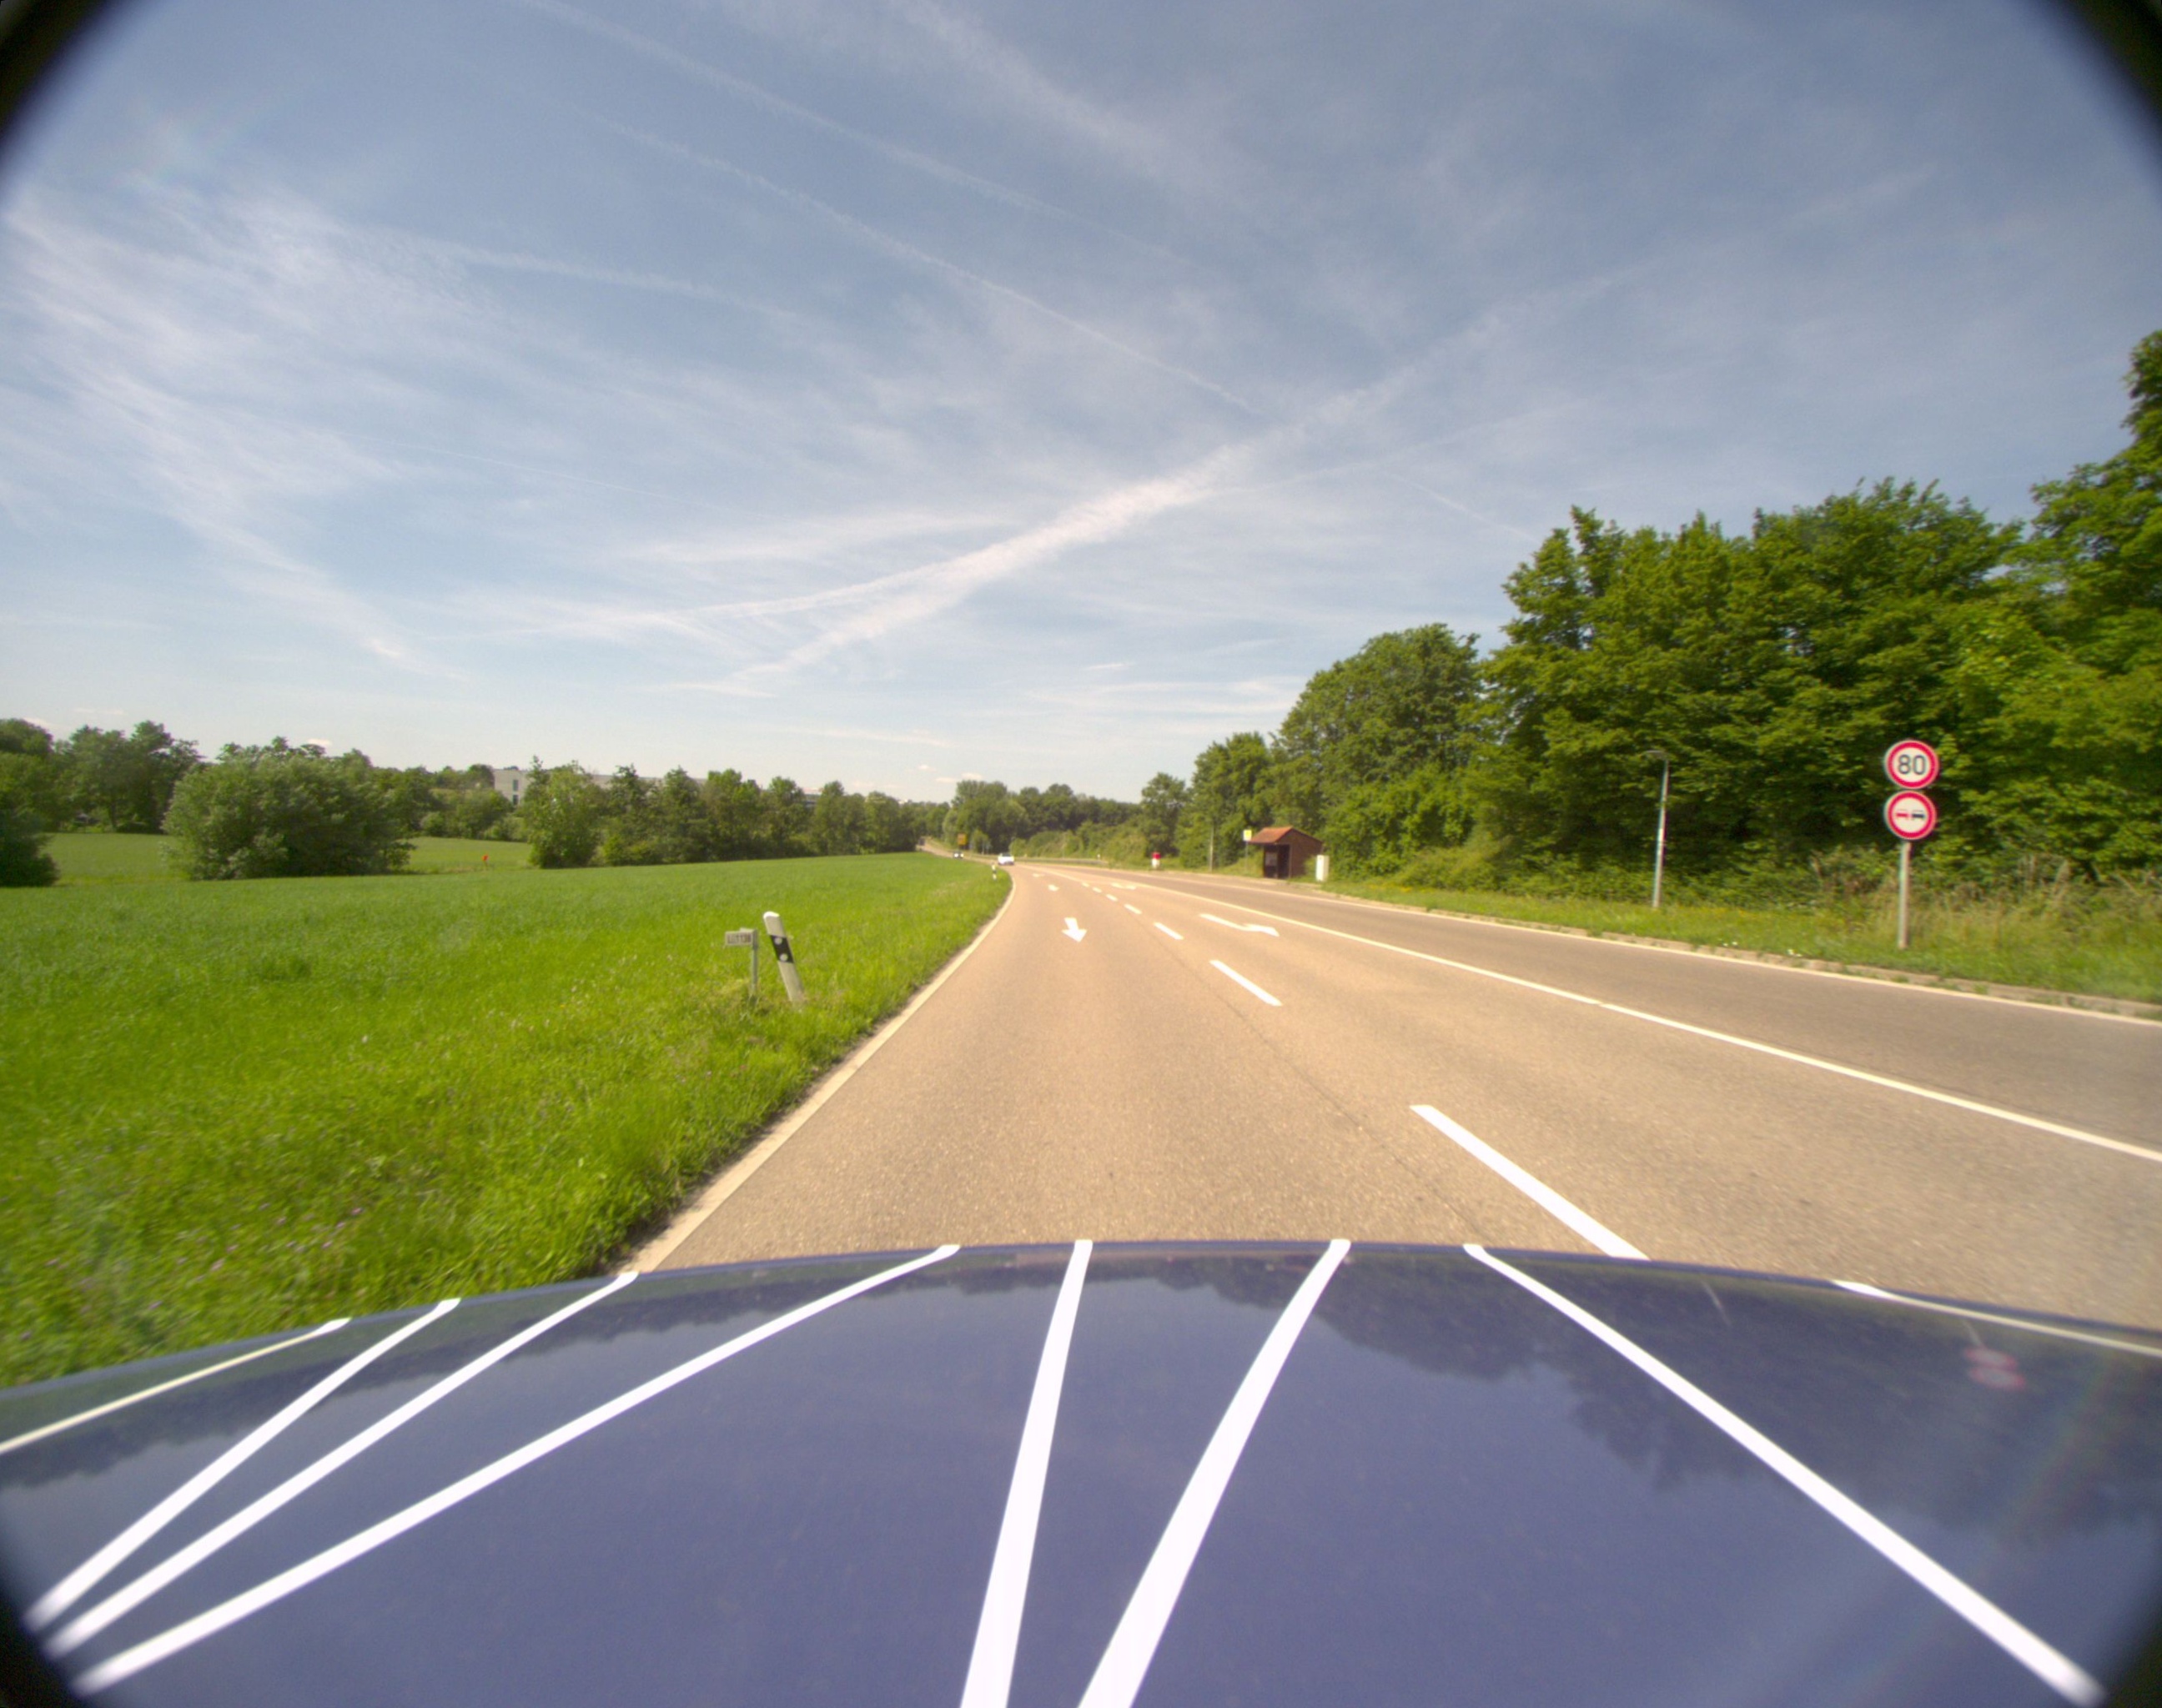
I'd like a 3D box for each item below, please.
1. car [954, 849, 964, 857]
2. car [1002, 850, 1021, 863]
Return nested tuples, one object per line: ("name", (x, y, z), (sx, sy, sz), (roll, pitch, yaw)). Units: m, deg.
("car", (-25.841, -0.257, 160.971), (2.000, 1.575, 3.996), (0, 0, -11))
("car", (-8.806, 0.292, 95.971), (2.000, 1.576, 3.996), (-1, 1, -11))
